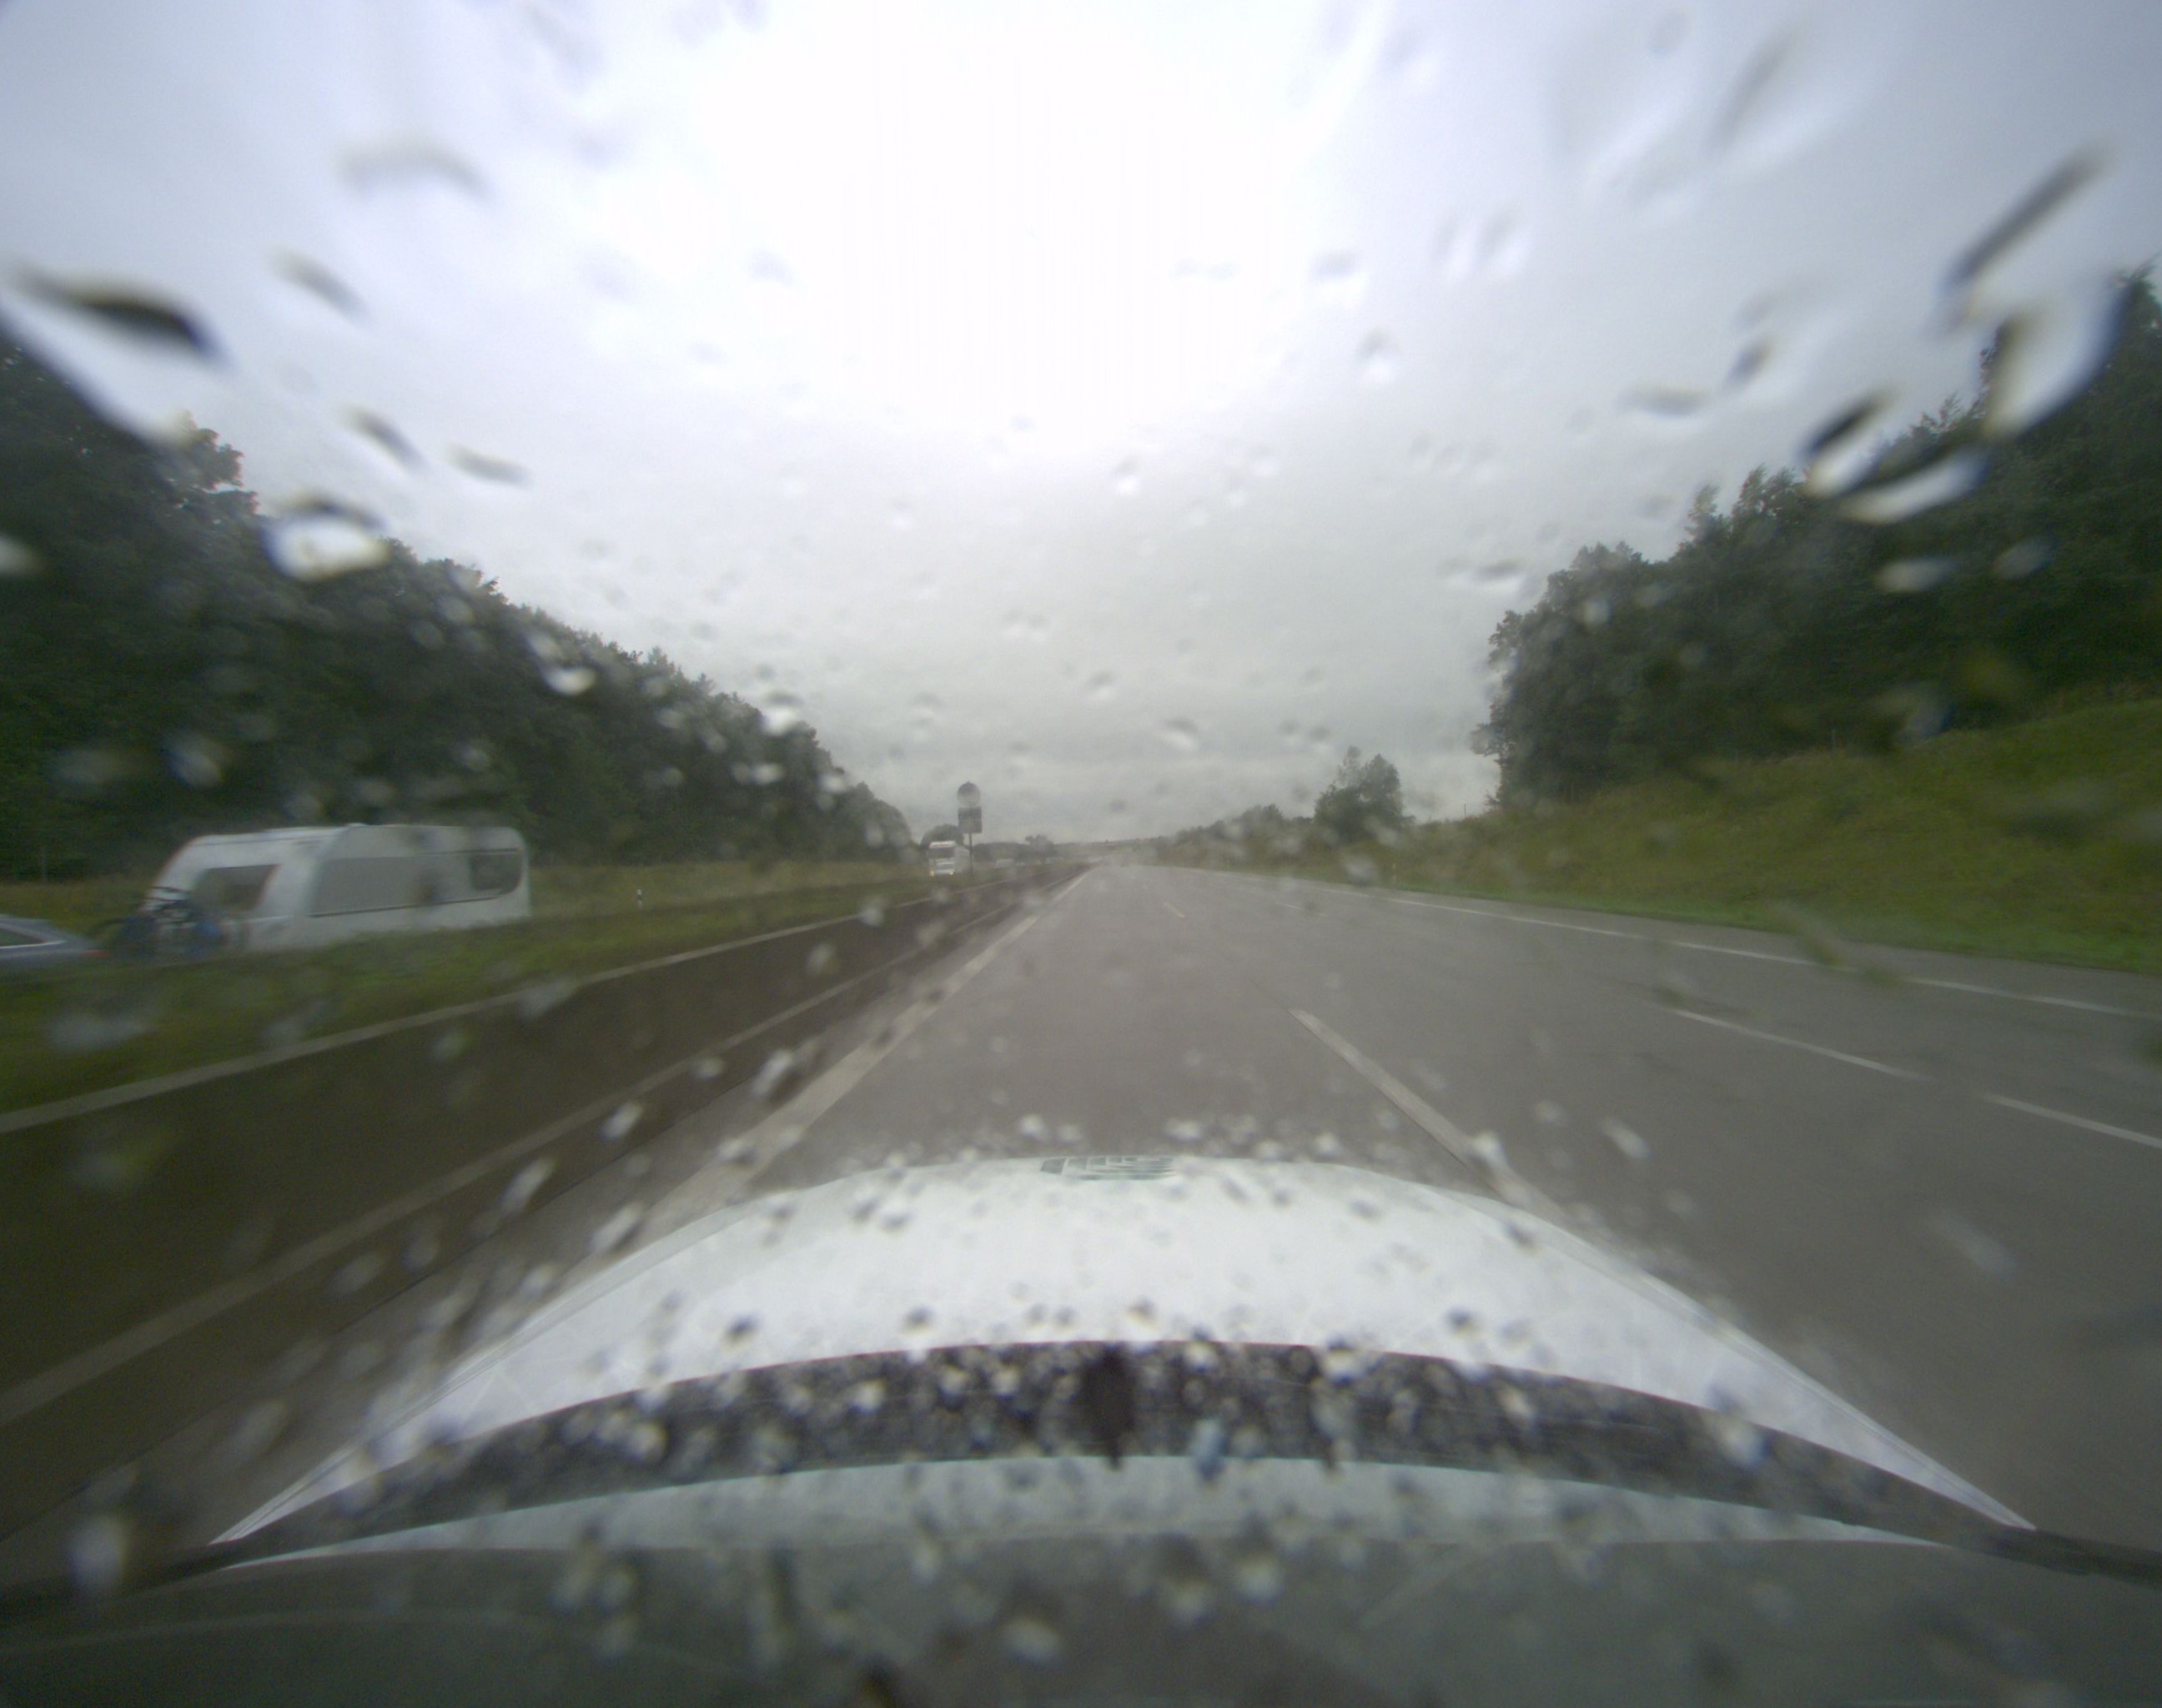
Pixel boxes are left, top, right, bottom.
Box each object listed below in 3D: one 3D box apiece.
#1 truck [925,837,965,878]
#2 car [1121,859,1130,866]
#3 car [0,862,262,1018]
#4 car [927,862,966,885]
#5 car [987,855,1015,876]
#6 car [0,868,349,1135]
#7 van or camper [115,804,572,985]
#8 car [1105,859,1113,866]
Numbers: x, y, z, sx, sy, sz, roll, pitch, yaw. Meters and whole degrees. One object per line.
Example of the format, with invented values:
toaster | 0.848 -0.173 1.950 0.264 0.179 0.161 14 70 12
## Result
truck | -13.334 0.255 80.270 2.655 3.874 6.438 -1 1 1
car | 9.386 1.808 172.727 1.841 1.331 4.431 -1 1 1
car | -12.393 0.962 8.536 1.986 1.644 5.410 -3 -1 1
car | -10.058 1.439 61.217 1.986 1.627 4.561 -2 -1 1
car | -6.754 0.933 69.039 1.777 1.687 4.561 -2 0 1
car | -7.910 1.006 5.145 1.848 1.684 5.089 -2 0 1
van or camper | -12.127 0.580 14.302 2.492 2.429 5.920 -2 0 1
car | 6.141 1.874 179.319 1.722 1.331 4.432 -1 1 2
